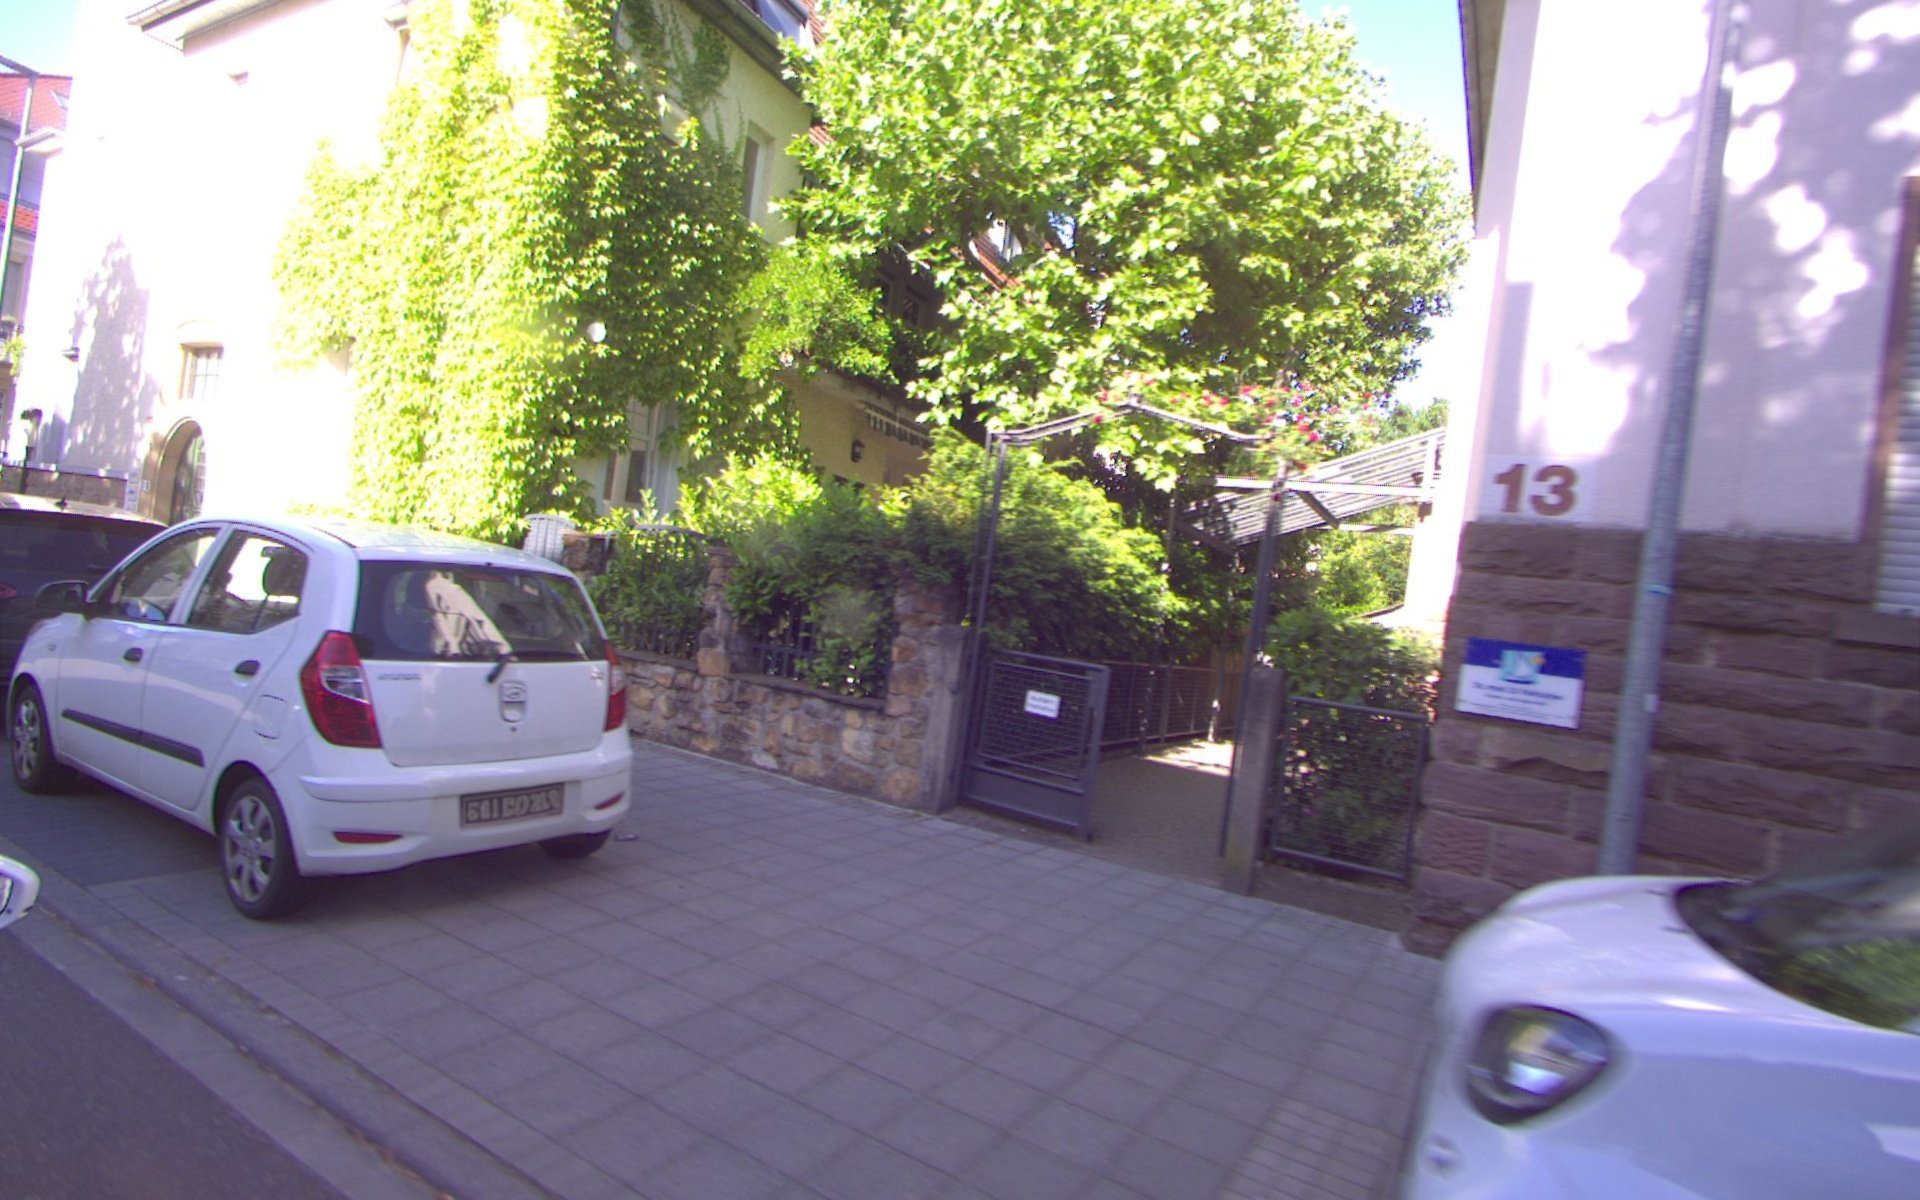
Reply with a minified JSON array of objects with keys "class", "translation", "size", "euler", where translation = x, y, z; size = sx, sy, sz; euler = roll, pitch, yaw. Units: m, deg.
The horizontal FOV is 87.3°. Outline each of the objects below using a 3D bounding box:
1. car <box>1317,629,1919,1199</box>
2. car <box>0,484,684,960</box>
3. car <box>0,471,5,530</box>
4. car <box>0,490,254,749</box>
[{"class":"car","translation":[2.237,1.034,1.685],"size":[2.822,1.567,1.629],"euler":[6,-2,31]},{"class":"car","translation":[-3.245,0.371,5.025],"size":[3.411,1.568,1.577],"euler":[6,0,31]},{"class":"car","translation":[-12.042,-0.780,10.561],"size":[4.294,1.539,1.794],"euler":[6,0,31]},{"class":"car","translation":[-6.921,-0.040,7.007],"size":[4.123,1.454,1.711],"euler":[6,0,31]}]
